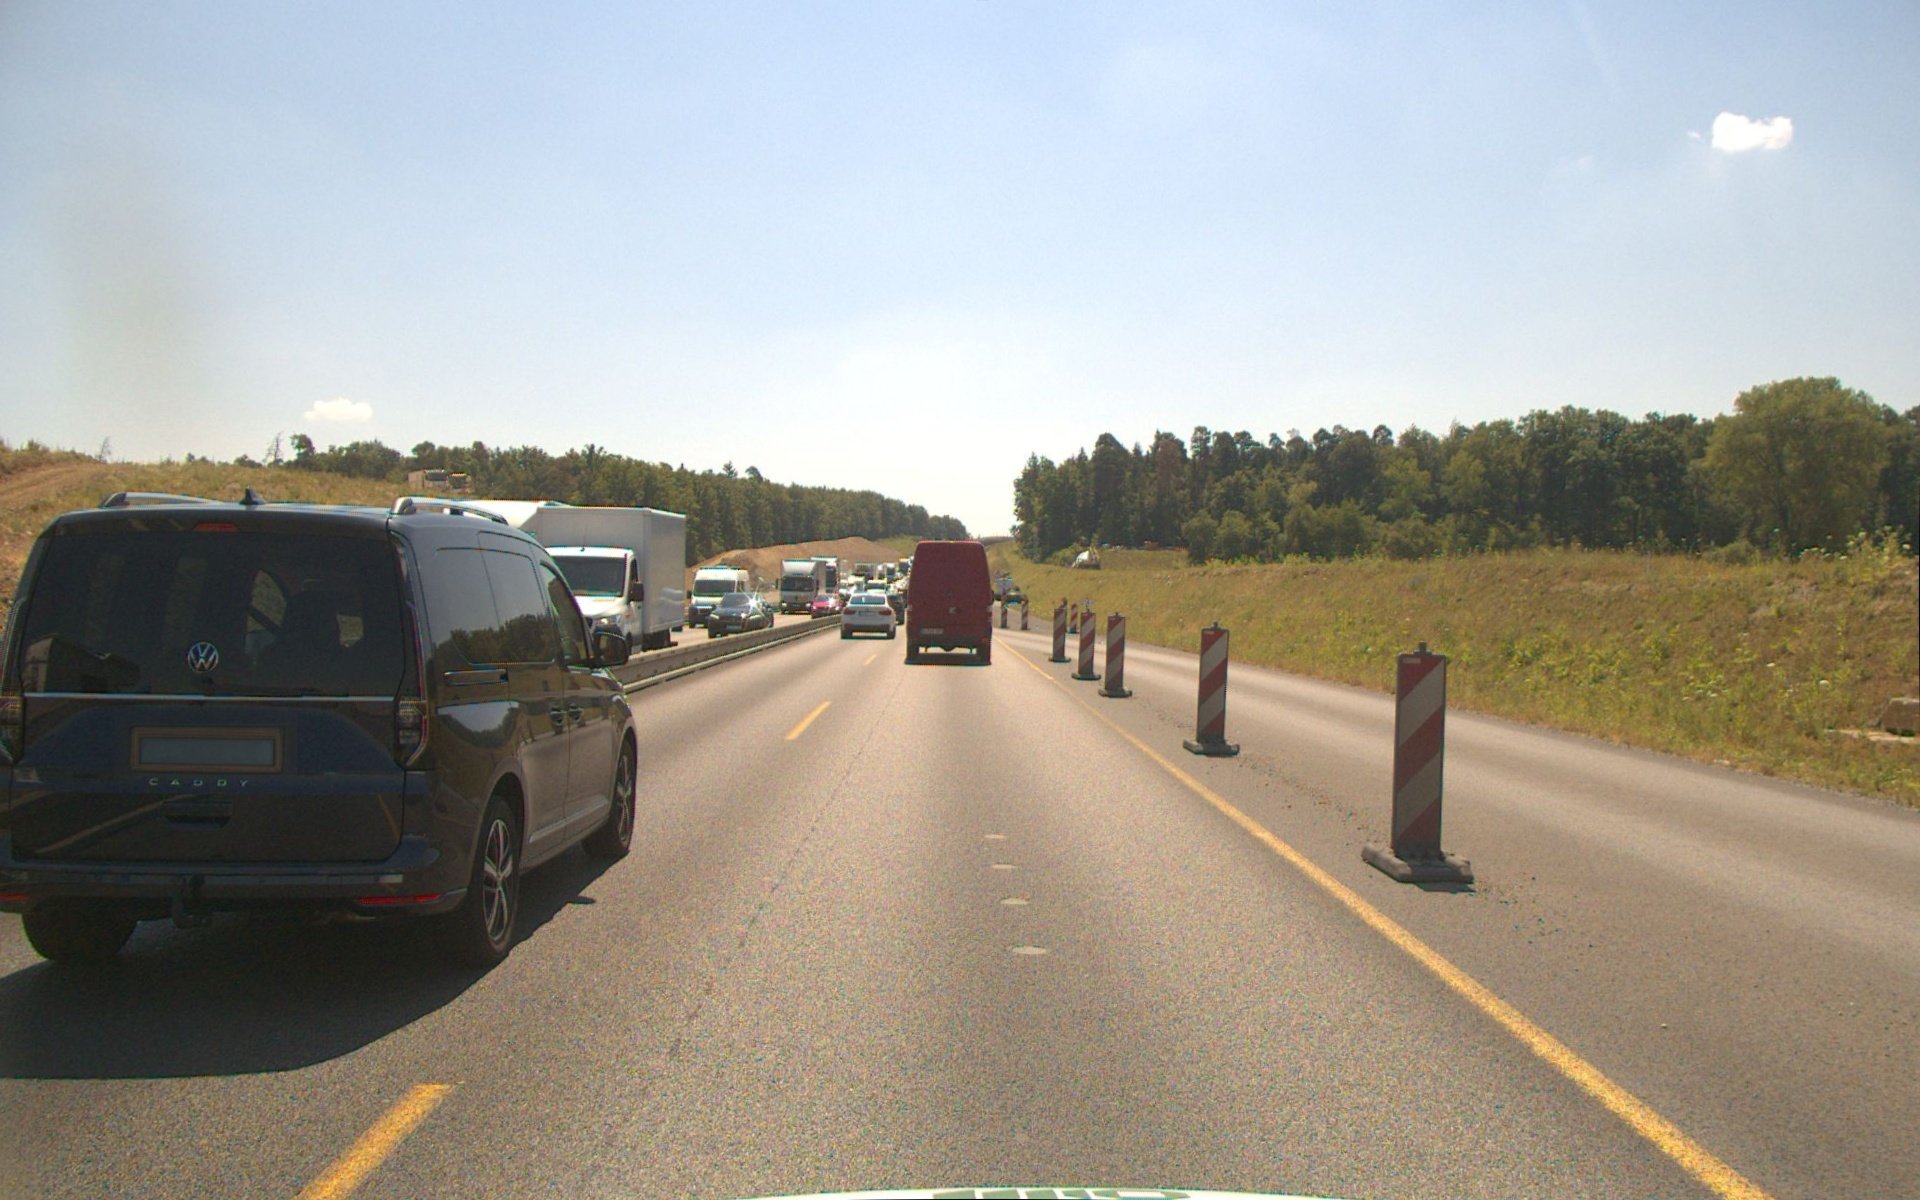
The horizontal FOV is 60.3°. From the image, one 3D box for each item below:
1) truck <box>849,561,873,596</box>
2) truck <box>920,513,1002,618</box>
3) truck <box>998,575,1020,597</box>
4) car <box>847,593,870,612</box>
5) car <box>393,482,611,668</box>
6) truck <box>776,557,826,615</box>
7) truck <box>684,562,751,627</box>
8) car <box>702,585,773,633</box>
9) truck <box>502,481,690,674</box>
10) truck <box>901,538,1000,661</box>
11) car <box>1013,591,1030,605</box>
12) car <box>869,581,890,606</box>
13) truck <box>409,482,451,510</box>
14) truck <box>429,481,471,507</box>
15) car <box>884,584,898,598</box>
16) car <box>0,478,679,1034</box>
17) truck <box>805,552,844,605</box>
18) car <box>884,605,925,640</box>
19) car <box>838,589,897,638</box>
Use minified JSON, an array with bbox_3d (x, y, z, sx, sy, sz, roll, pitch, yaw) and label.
[{"bbox_3d":[-12.189,-2.627,203.811,2.440,4.272,5.913,-1,0,2],"label":"truck"},{"bbox_3d":[-0.035,-1.838,97.917,4.310,5.592,16.600,1,0,-1],"label":"truck"},{"bbox_3d":[5.881,-1.688,197.362,2.084,2.499,5.930,1,1,6],"label":"truck"},{"bbox_3d":[-8.199,0.189,133.656,1.820,1.467,4.498,1,0,-3],"label":"car"},{"bbox_3d":[-10.393,-0.560,38.473,2.849,3.805,8.089,1,1,-1],"label":"car"},{"bbox_3d":[-10.805,-0.882,113.248,2.591,3.781,9.480,1,0,-1],"label":"truck"},{"bbox_3d":[-10.427,-0.306,71.598,2.056,2.614,6.353,2,1,-2],"label":"truck"},{"bbox_3d":[-7.332,0.298,54.833,1.752,1.508,4.560,1,0,-1],"label":"car"},{"bbox_3d":[-6.718,-0.358,31.502,2.225,3.205,7.309,1,0,-3],"label":"truck"},{"bbox_3d":[-0.250,-0.009,38.688,2.109,2.635,5.332,1,0,-1],"label":"truck"},{"bbox_3d":[6.714,-0.201,179.494,1.620,1.451,4.545,-2,1,0],"label":"car"},{"bbox_3d":[-8.118,-0.674,166.389,1.953,2.332,5.342,1,1,-2],"label":"car"},{"bbox_3d":[-64.310,-12.576,200.583,2.335,2.949,8.261,1,0,-36],"label":"truck"},{"bbox_3d":[-64.216,-13.338,208.251,2.277,2.797,8.793,1,0,-36],"label":"truck"},{"bbox_3d":[-8.895,-1.150,213.178,1.654,1.642,4.592,1,0,-1],"label":"car"},{"bbox_3d":[-2.616,0.498,7.995,1.716,1.856,4.782,1,1,-1],"label":"car"},{"bbox_3d":[-10.902,-1.691,133.155,2.791,4.088,4.858,-1,0,-1],"label":"truck"},{"bbox_3d":[-2.747,1.104,82.289,1.927,1.568,4.311,1,1,-1],"label":"car"},{"bbox_3d":[-3.089,0.452,55.968,1.794,1.548,3.960,1,0,-1],"label":"car"}]
